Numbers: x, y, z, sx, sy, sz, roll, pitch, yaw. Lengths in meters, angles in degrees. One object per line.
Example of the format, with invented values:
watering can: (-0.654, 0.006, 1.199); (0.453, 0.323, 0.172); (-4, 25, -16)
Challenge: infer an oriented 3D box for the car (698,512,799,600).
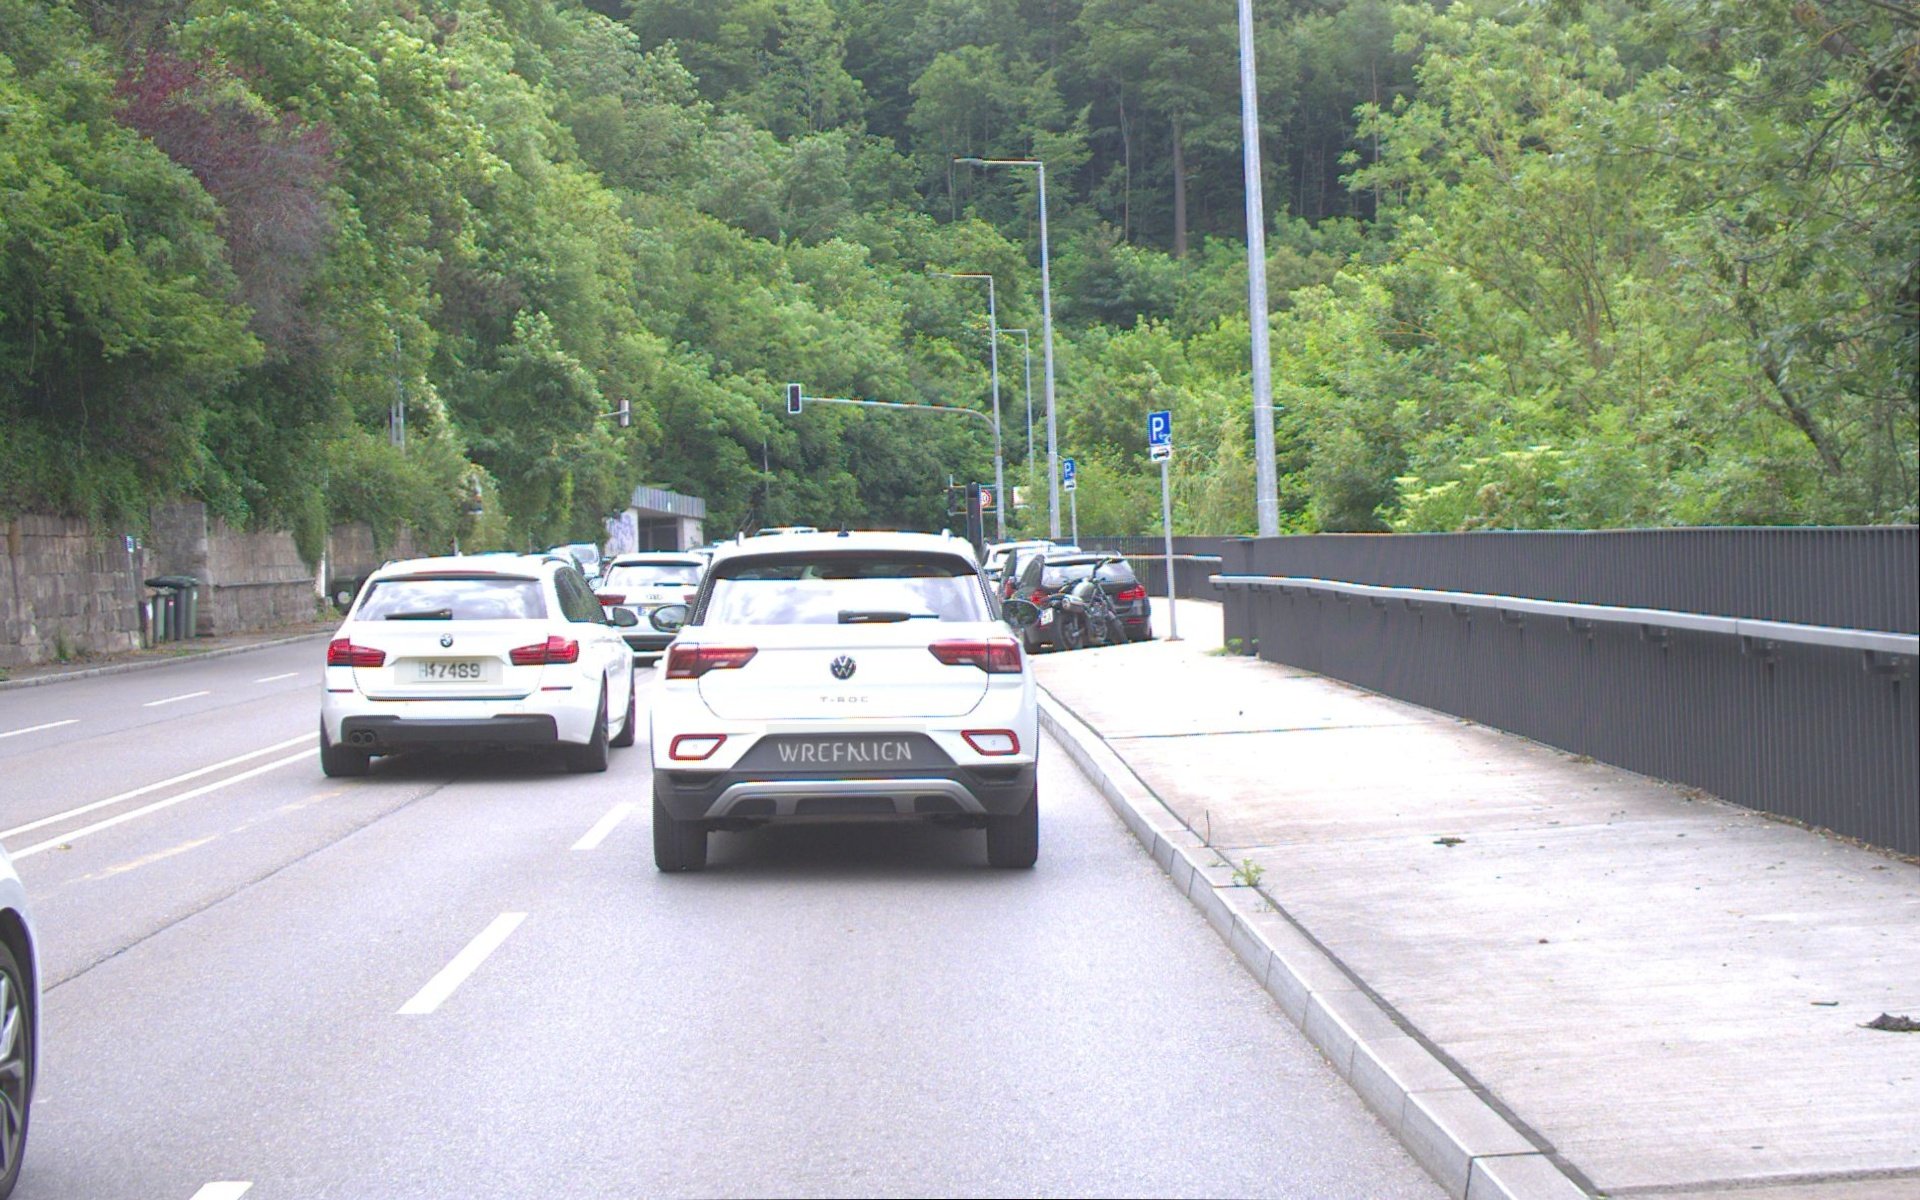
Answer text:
car: (-4.574, -0.960, 74.785); (1.993, 1.858, 4.000); (0, 1, -1)

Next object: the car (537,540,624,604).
car: (-10.317, -0.777, 93.757); (1.815, 1.691, 4.470); (0, 1, 1)

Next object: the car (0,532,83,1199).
car: (-2.936, 0.654, 6.222); (1.720, 1.549, 4.276); (-1, 1, -2)

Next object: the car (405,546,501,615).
car: (-11.034, -0.441, 74.996); (1.583, 1.456, 3.523); (0, 1, 0)

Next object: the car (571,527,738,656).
car: (-3.946, -0.112, 44.964); (1.862, 1.589, 4.000); (1, 0, -1)

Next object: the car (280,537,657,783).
car: (-3.323, 0.338, 24.139); (1.993, 1.552, 4.681); (0, 1, 0)

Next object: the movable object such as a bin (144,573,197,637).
movable object such as a bin: (-13.537, 0.083, 58.980); (0.772, 1.058, 0.718); (-1, 1, -4)

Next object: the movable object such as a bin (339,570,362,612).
movable object such as a bin: (-14.166, -0.218, 79.879); (0.477, 0.968, 0.368); (1, 0, -5)

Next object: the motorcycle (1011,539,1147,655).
motorcycle: (1.577, -0.056, 44.946); (0.770, 1.462, 2.501); (0, 1, 27)

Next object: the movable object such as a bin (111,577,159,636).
movable object such as a bin: (-13.665, 0.103, 56.975); (0.673, 0.962, 0.543); (-1, 1, -4)

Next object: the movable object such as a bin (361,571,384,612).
movable object such as a bin: (-13.660, -0.202, 79.915); (0.479, 0.933, 0.366); (1, 0, -5)

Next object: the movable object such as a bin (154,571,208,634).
movable object such as a bin: (-13.528, 0.040, 59.718); (0.787, 1.067, 0.709); (-1, 2, -4)

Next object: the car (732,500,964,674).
car: (-1.204, -0.160, 38.938); (1.994, 1.837, 4.149); (1, 1, 7)

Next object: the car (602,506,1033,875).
car: (-0.573, 0.361, 16.880); (1.814, 1.534, 4.008); (-2, 1, 1)

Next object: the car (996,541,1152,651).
car: (1.582, -0.087, 49.065); (1.823, 1.396, 4.320); (-3, 1, -2)

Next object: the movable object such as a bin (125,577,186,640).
movable object such as a bin: (-13.618, 0.138, 58.219); (0.898, 1.030, 0.621); (-1, 1, -4)

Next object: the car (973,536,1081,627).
car: (1.207, -0.350, 63.647); (1.726, 1.563, 4.624); (-2, 1, -1)

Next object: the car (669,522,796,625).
car: (-3.963, -0.485, 60.443); (1.993, 1.735, 4.000); (0, 1, -1)

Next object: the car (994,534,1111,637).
car: (1.536, -0.273, 58.287); (1.659, 1.566, 4.256); (-4, 1, -1)
